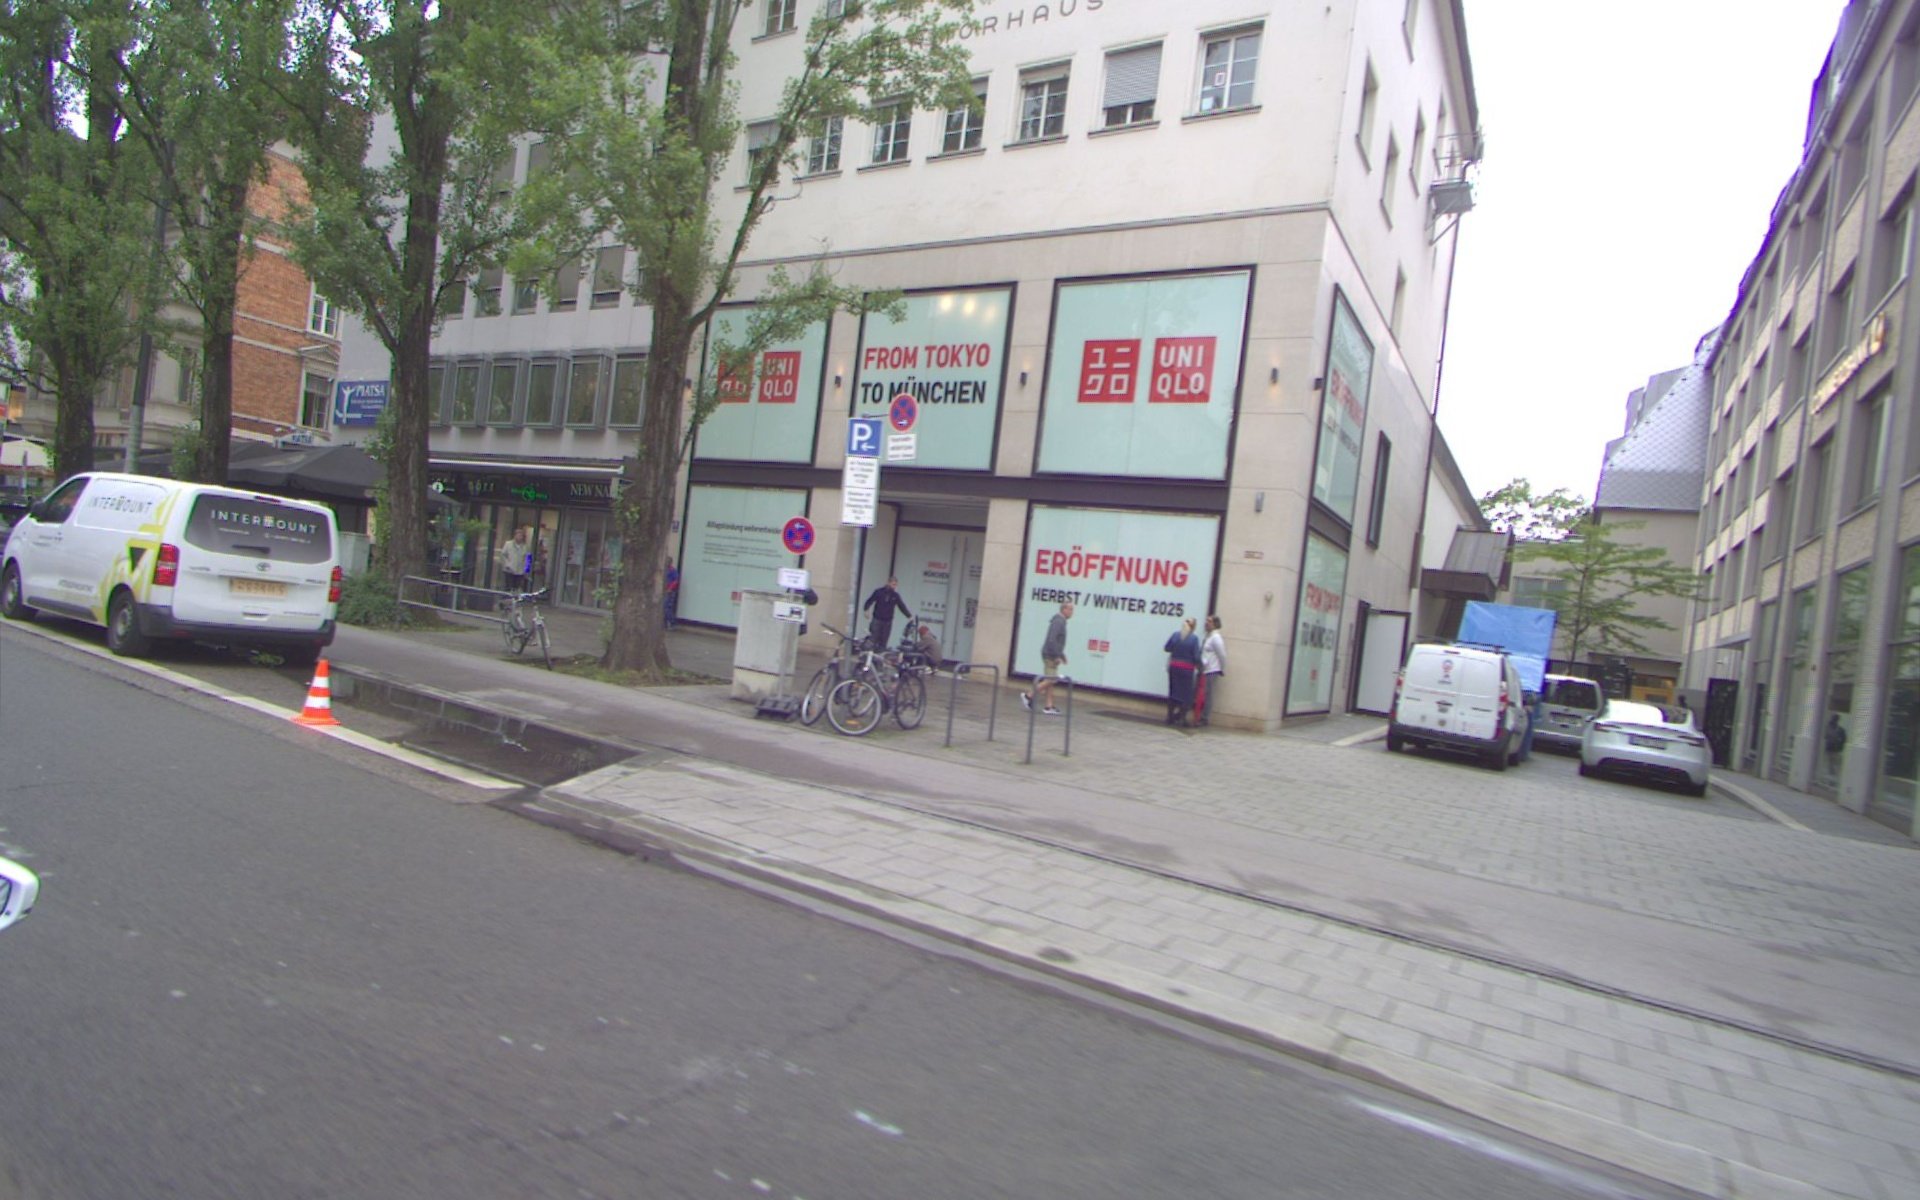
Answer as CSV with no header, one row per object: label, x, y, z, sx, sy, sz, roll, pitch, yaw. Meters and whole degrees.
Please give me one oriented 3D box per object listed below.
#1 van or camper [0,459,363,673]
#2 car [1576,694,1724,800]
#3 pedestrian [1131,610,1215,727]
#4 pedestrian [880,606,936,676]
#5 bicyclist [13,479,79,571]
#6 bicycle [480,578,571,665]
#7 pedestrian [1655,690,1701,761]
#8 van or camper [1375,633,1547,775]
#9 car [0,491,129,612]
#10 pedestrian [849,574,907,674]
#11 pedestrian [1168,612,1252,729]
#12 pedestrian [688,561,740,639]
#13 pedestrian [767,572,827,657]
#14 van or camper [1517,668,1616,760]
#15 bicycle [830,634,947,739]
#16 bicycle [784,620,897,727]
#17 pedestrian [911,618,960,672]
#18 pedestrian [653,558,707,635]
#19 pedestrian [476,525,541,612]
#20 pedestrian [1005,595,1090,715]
van or camper,-9.394,-0.451,11.843,4.821,1.905,1.872,7,-1,31
car,12.474,2.552,18.314,1.869,1.404,4.303,7,0,34
pedestrian,3.370,1.075,15.890,0.947,1.683,0.652,7,1,32
pedestrian,-1.008,0.792,19.482,0.673,1.249,0.670,8,1,33
bicyclist,-17.135,-1.399,18.863,0.740,1.608,0.622,7,1,31
bicycle,-6.240,0.292,14.409,1.705,1.050,0.364,7,1,40
pedestrian,18.004,3.139,25.224,0.741,1.643,0.959,8,1,37
van or camper,8.583,1.768,17.033,1.868,1.888,4.109,7,-2,35
car,-14.154,-0.871,14.587,4.279,1.458,1.724,7,-2,30
pedestrian,-1.577,0.454,19.278,0.853,1.786,0.683,7,1,-10
pedestrian,4.067,1.143,16.354,0.947,1.739,0.751,7,1,32
pedestrian,-5.473,0.002,22.421,0.673,1.629,0.670,8,1,32
pedestrian,-3.338,0.299,20.608,0.814,1.629,0.671,7,1,29
van or camper,14.847,2.727,24.587,1.724,1.828,4.304,7,0,33
bicycle,-0.785,0.949,11.575,0.475,1.058,1.761,8,2,23
bicycle,-1.378,0.825,11.879,0.440,1.125,1.742,7,2,22
pedestrian,-0.478,0.892,19.885,0.661,0.981,0.571,7,0,33
pedestrian,-6.374,-0.075,22.890,0.760,1.628,0.670,7,-1,39
pedestrian,-10.453,-0.735,23.295,1.084,1.864,0.825,7,1,42
pedestrian,1.335,0.834,15.557,0.970,1.694,0.825,7,1,-7
